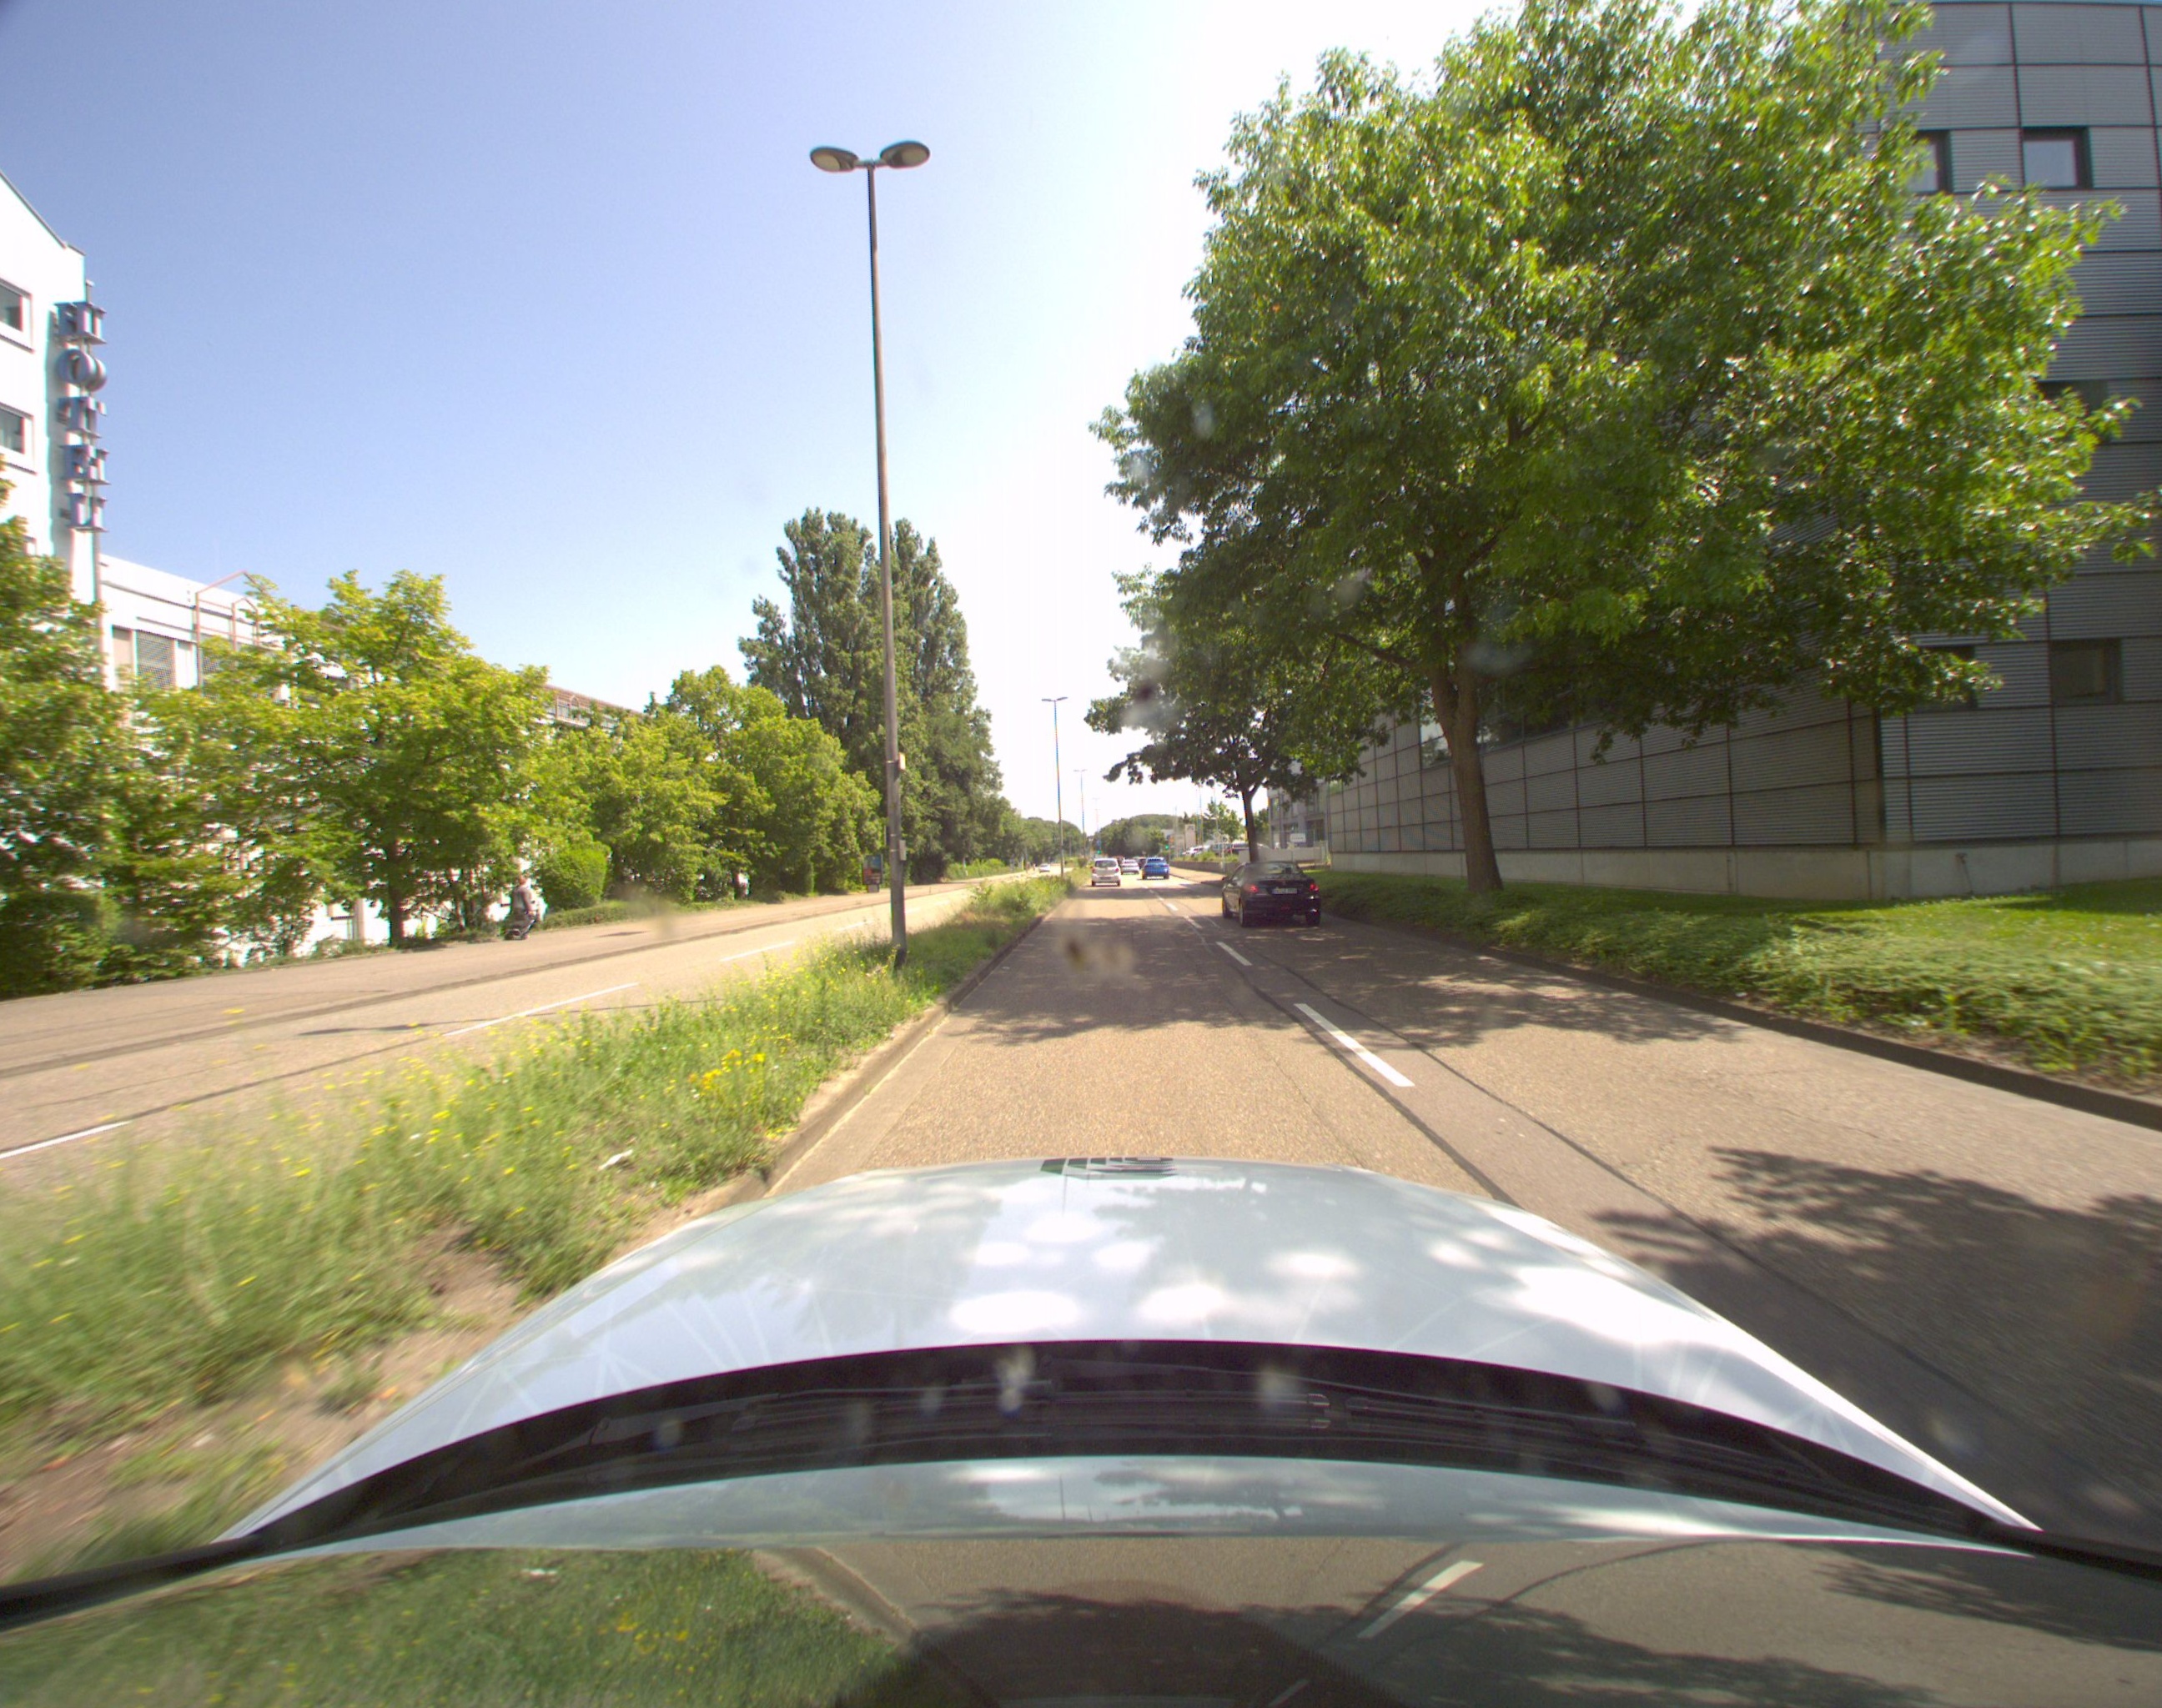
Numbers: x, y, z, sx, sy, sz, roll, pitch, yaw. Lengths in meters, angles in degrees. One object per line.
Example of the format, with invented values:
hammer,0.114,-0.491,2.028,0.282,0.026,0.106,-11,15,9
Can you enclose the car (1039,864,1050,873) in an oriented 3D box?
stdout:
car,-6.331,2.479,142.258,1.730,1.413,4.371,-3,-1,0

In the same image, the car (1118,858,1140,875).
car,4.625,1.207,79.342,1.986,1.442,4.001,-3,-1,1

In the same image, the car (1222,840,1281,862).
car,14.027,-0.239,67.175,4.483,1.583,2.000,-4,-1,1

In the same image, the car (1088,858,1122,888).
car,1.381,1.004,45.549,1.741,1.520,3.749,-2,0,3

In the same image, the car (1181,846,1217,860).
car,15.302,-0.123,106.127,4.333,1.544,2.000,-4,-1,0

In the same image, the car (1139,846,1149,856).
car,13.711,-0.593,177.514,1.765,2.013,3.988,-3,0,-1

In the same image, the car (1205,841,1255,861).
car,13.879,-0.264,75.920,4.212,1.647,2.000,-4,-1,1

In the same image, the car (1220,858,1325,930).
car,4.150,0.811,18.161,1.620,1.364,3.608,-1,0,3

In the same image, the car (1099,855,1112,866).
car,4.174,1.043,138.594,1.815,1.662,3.997,-3,1,-2

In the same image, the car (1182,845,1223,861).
car,14.586,-0.118,97.869,4.518,1.544,2.001,-4,-1,1

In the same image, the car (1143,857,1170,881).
car,5.466,1.090,58.974,1.819,1.580,3.609,-3,-2,5

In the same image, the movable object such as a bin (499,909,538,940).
movable object such as a bin,-14.150,1.765,20.498,0.425,0.705,0.654,-3,-1,10

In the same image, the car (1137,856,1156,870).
car,7.857,1.074,98.531,1.986,1.640,4.001,-3,-1,1

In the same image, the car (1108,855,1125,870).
car,4.444,1.119,101.763,1.771,1.740,3.998,-3,-1,-1

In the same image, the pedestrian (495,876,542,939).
pedestrian,-14.509,1.364,21.031,0.630,1.545,0.727,-3,-1,1
